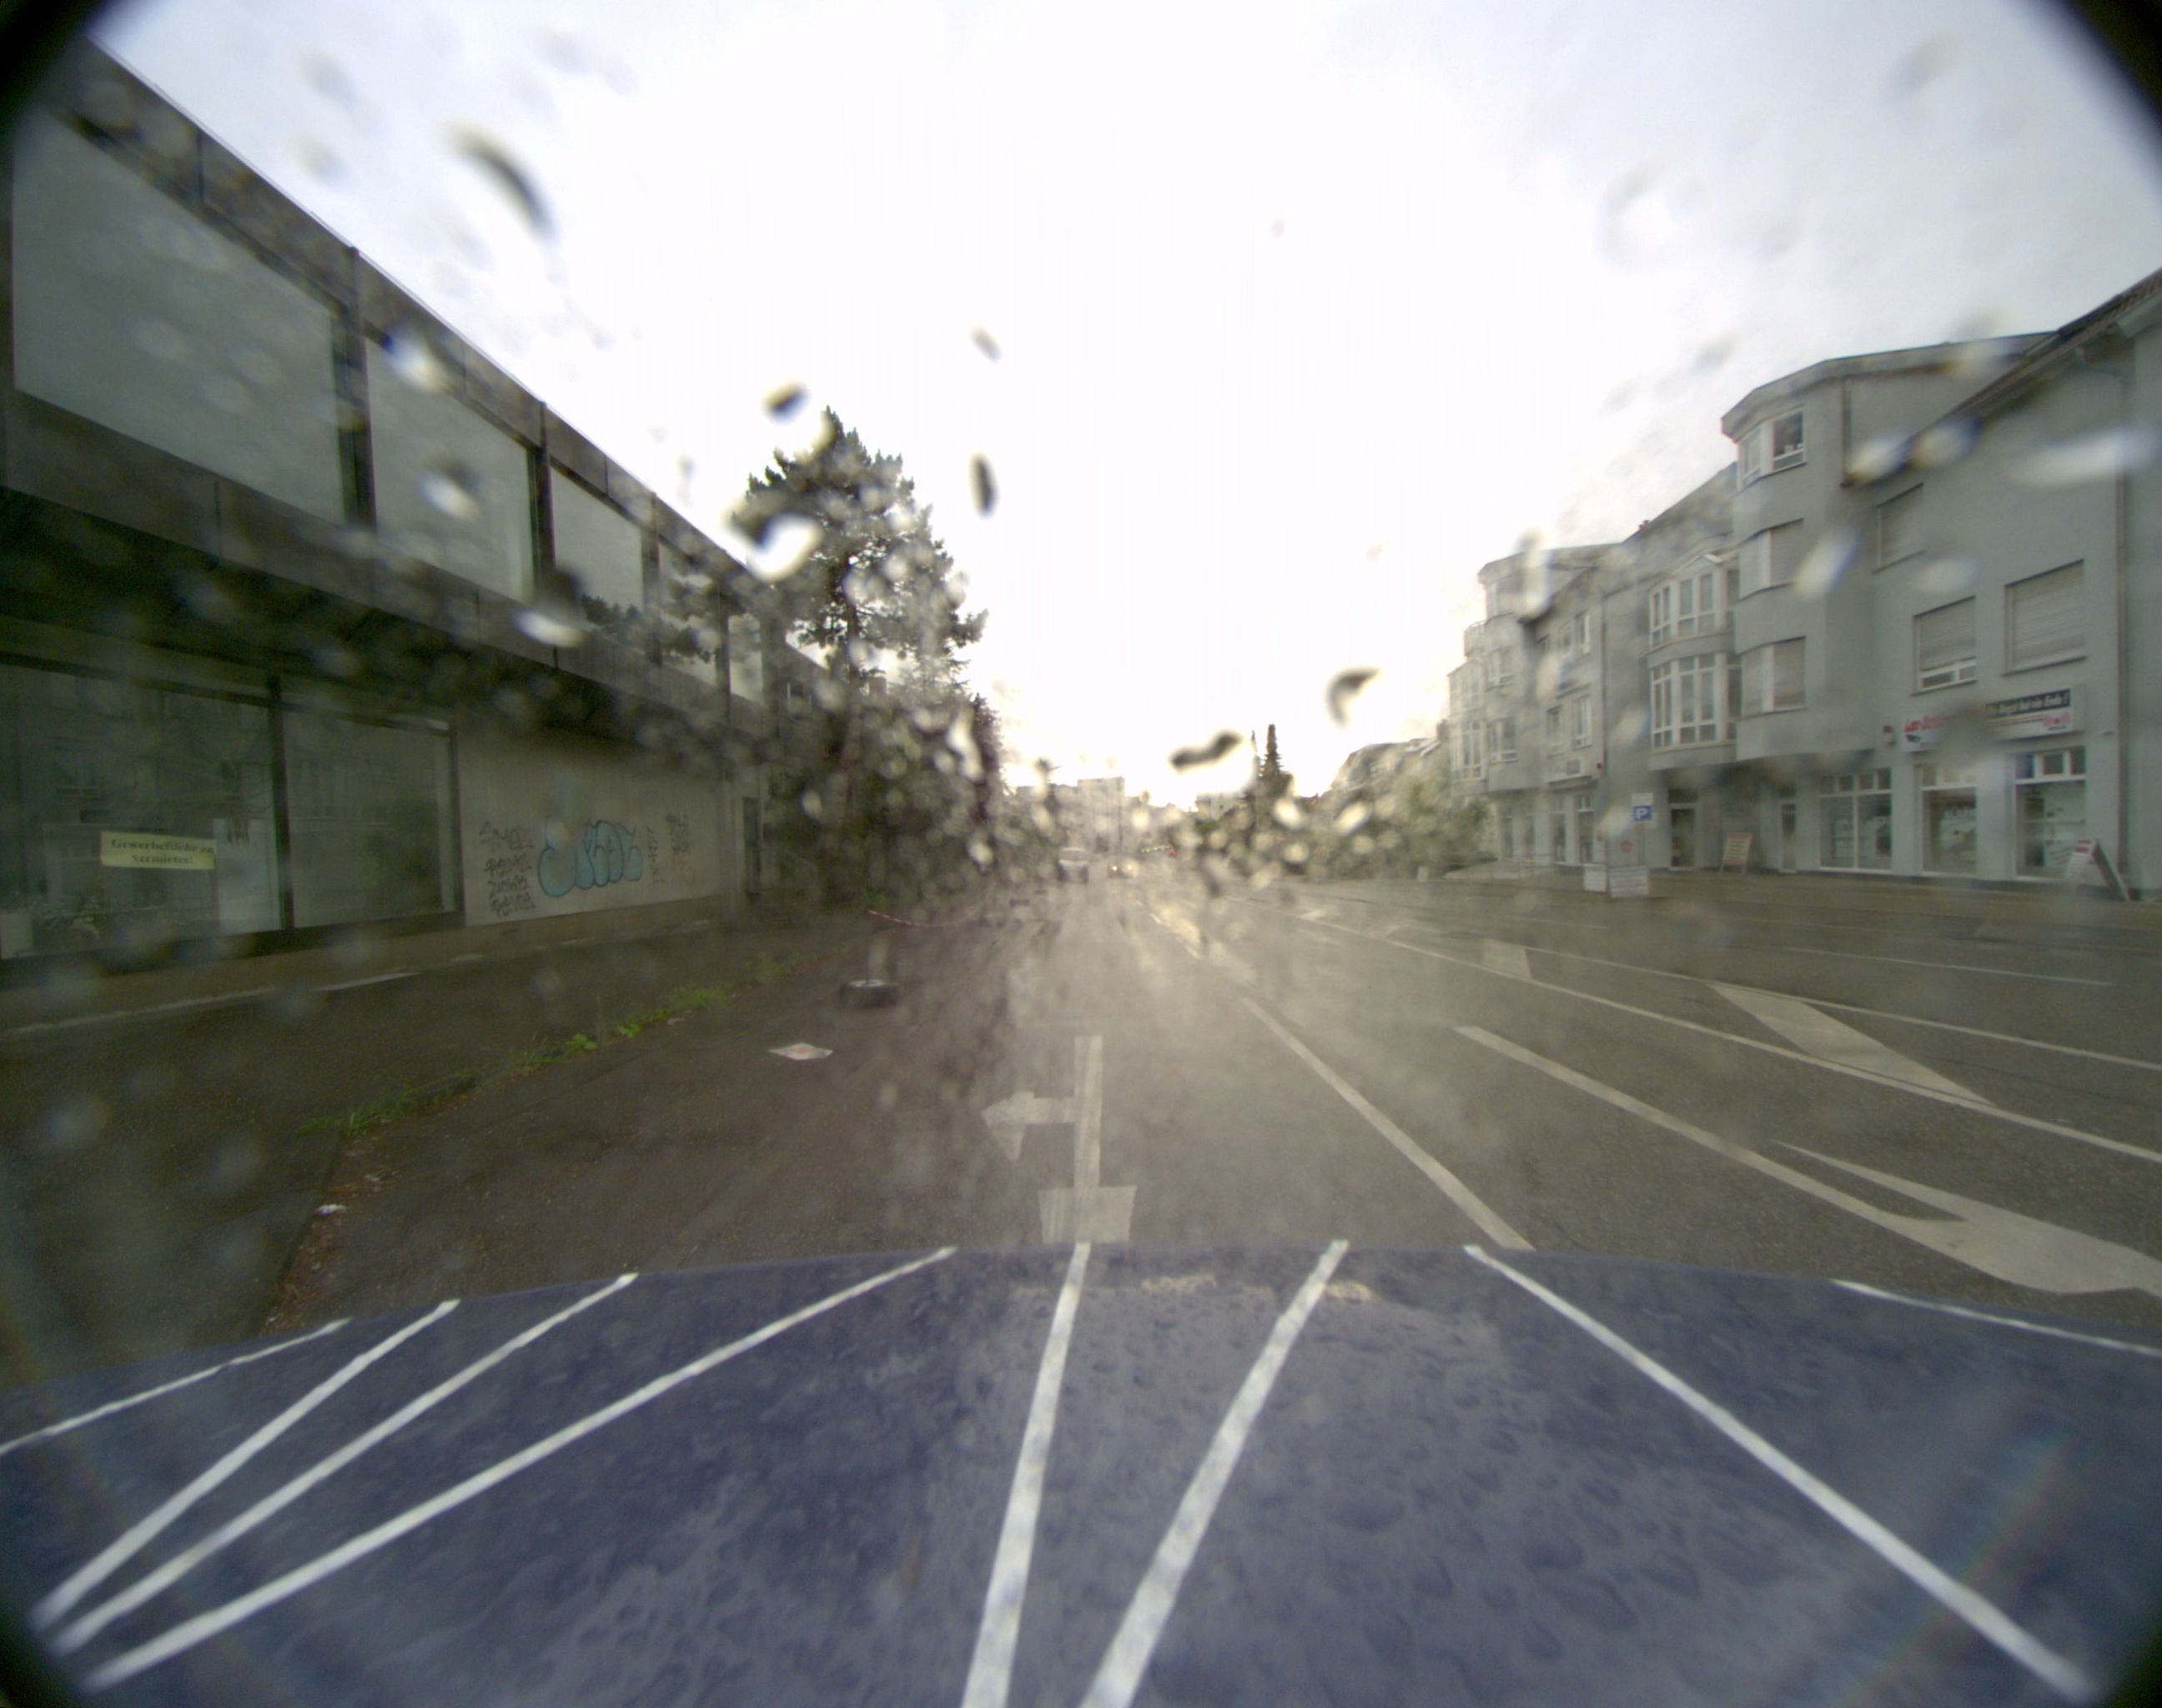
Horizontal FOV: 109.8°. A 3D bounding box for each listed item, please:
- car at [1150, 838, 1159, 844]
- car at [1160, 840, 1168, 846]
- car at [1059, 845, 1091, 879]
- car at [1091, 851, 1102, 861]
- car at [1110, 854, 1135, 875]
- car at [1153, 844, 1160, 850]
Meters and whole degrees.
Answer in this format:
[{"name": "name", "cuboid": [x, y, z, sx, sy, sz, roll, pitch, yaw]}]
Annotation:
[{"name": "car", "cuboid": [23.431, -4.087, 242.120, 1.996, 1.808, 4.003, -2, 1, 14]}, {"name": "car", "cuboid": [25.969, -3.388, 238.175, 1.998, 1.774, 4.000, -2, 1, 3]}, {"name": "car", "cuboid": [-0.354, 0.468, 50.412, 1.998, 2.072, 3.999, -2, 1, 1]}, {"name": "car", "cuboid": [2.630, 0.344, 132.463, 1.803, 1.675, 3.999, -2, 1, 1]}, {"name": "car", "cuboid": [3.298, 0.839, 61.107, 1.754, 1.534, 4.676, -1, 1, 1]}, {"name": "car", "cuboid": [22.740, -2.064, 229.931, 1.997, 1.723, 4.002, -2, 1, 7]}]
